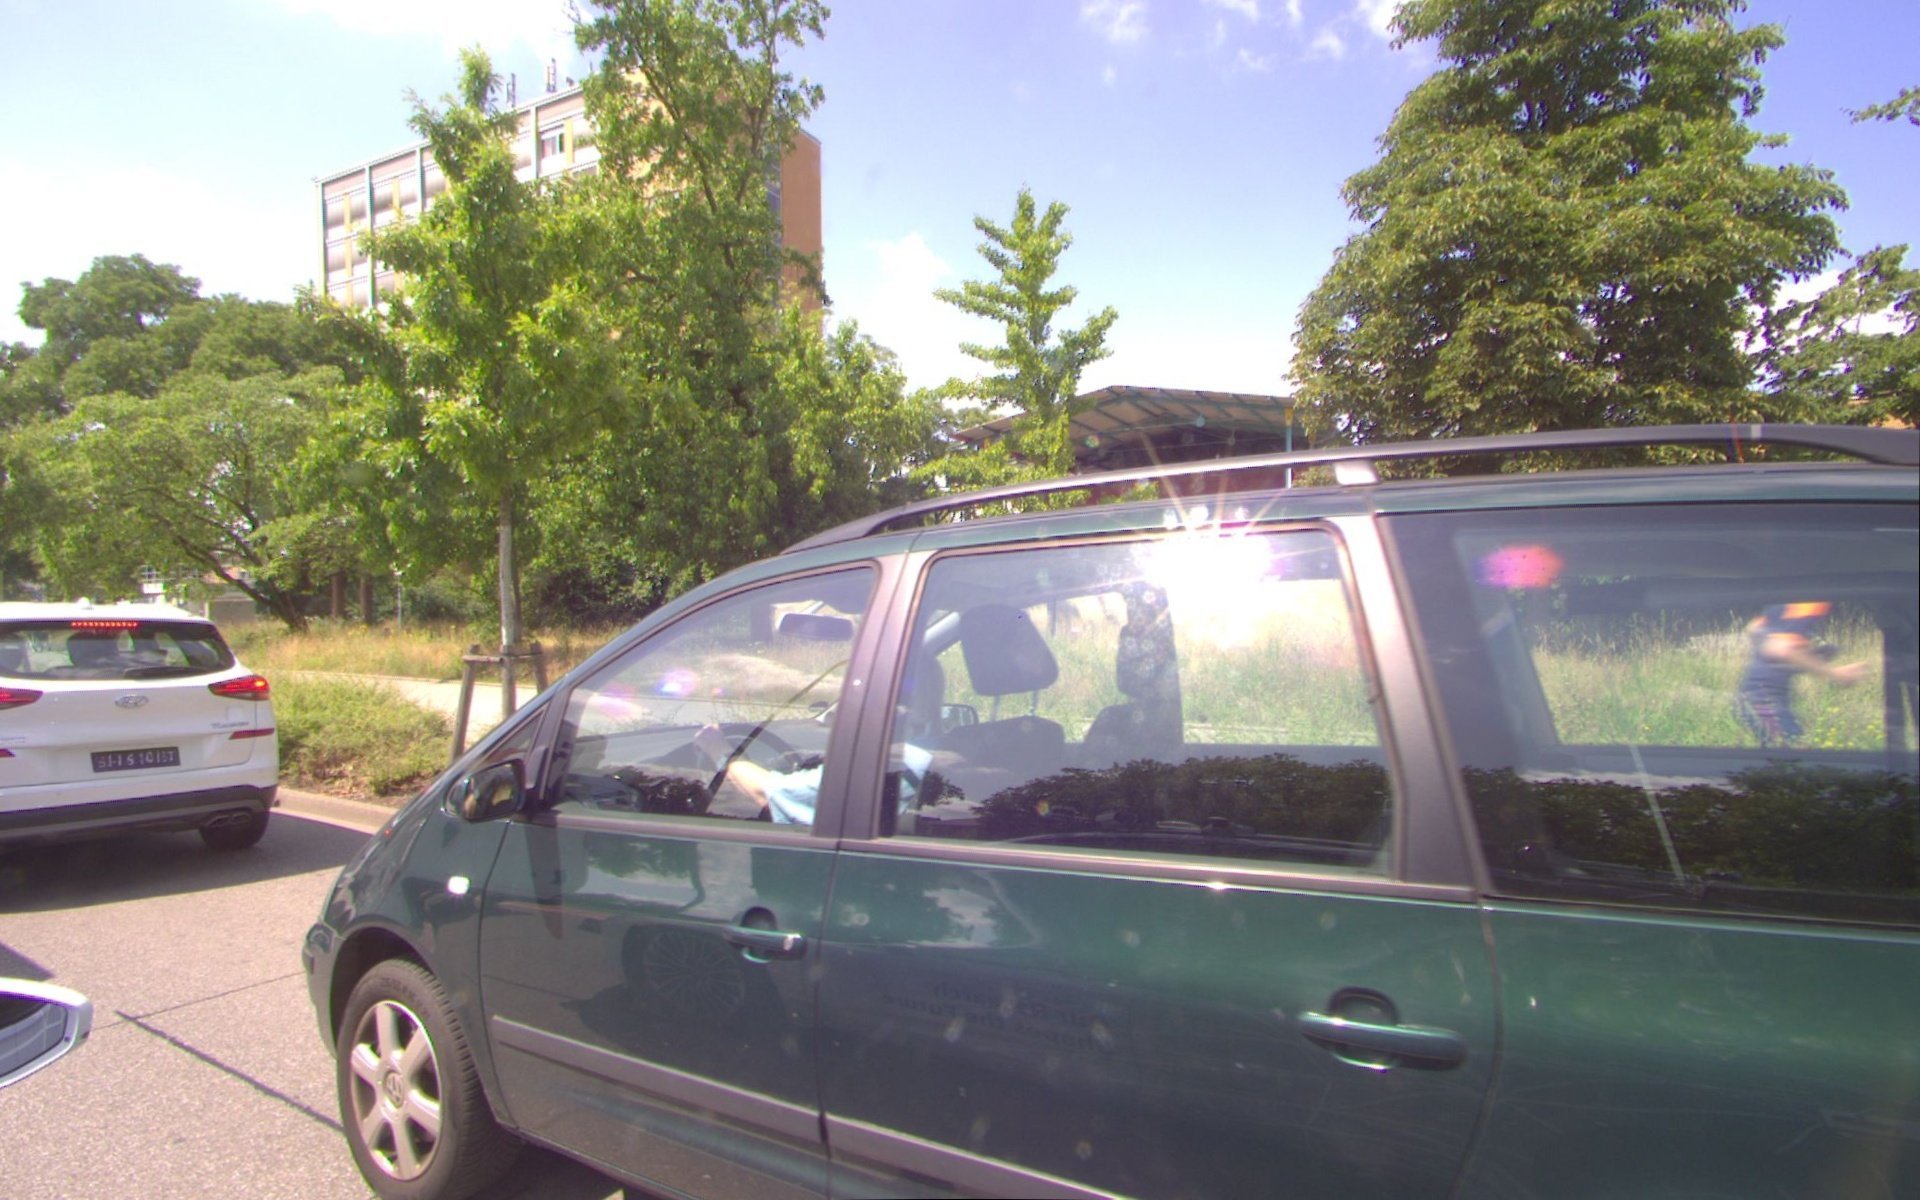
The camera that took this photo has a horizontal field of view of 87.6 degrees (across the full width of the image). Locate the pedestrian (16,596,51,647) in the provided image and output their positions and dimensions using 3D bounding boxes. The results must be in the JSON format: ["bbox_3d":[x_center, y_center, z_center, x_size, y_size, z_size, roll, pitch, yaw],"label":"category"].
[{"bbox_3d":[-38.591,0.894,41.716,0.729,2.085,0.844,0,0,26],"label":"pedestrian"}]

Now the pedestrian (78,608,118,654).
[{"bbox_3d":[-29.523,1.060,34.304,0.823,1.559,0.843,0,0,32],"label":"pedestrian"}]

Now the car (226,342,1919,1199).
[{"bbox_3d":[0.169,0.657,2.524,4.325,1.756,1.809,0,-1,32],"label":"car"}]

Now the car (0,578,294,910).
[{"bbox_3d":[-6.301,0.758,6.651,3.945,1.709,1.793,0,0,34],"label":"car"}]

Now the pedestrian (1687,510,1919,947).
[{"bbox_3d":[4.145,0.572,4.993,0.762,1.917,0.948,0,0,32],"label":"pedestrian"}]

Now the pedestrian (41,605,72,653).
[{"bbox_3d":[-38.694,1.224,42.885,0.730,2.040,0.843,0,0,32],"label":"pedestrian"}]
